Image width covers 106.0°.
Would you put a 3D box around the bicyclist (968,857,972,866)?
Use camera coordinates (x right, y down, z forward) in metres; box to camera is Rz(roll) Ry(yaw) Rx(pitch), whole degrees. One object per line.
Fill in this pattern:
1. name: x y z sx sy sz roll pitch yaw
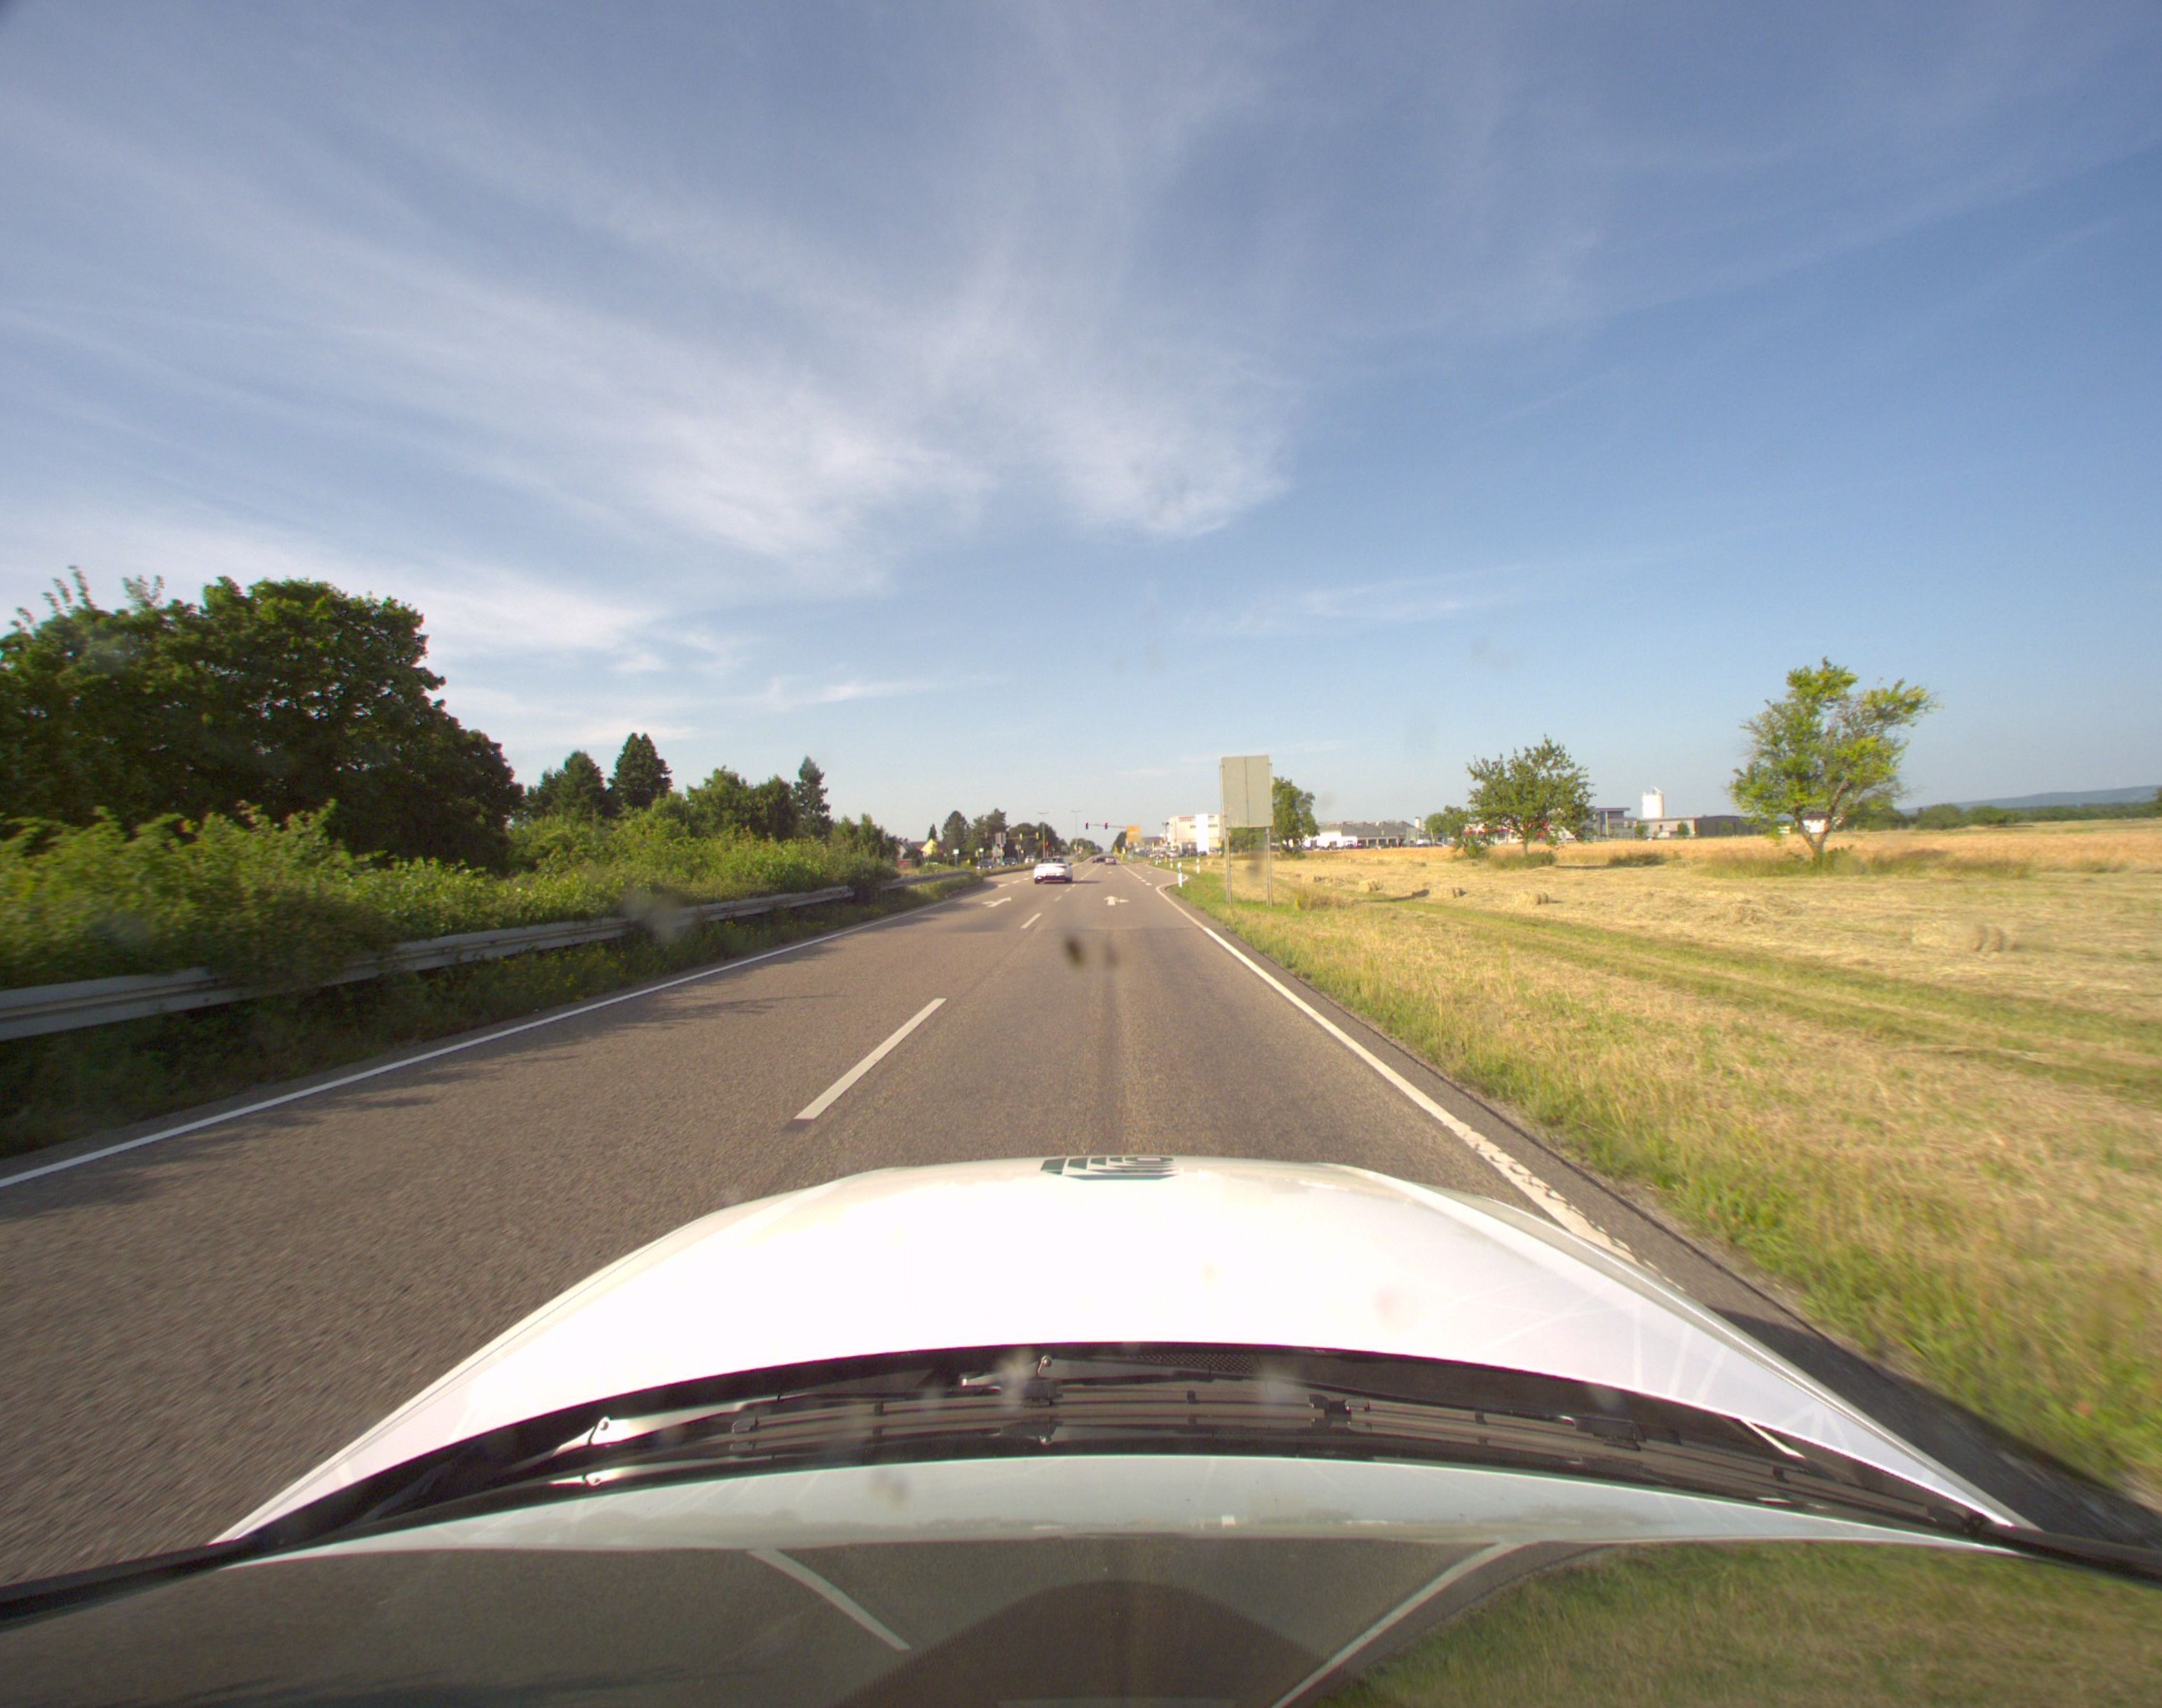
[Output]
1. bicyclist: -17.831 1.235 130.936 0.454 1.352 0.552 -3 0 -1

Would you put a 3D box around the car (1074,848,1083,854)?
1. car: -0.603 -0.632 185.656 1.940 1.408 4.003 -1 0 3

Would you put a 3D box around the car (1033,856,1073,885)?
1. car: -1.447 0.851 43.541 1.903 1.422 4.001 -1 0 1

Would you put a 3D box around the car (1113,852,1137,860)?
1. car: 8.007 0.426 149.568 3.998 1.408 1.942 -1 0 -18

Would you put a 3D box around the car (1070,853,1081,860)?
1. car: -1.112 0.461 160.746 1.940 1.408 4.003 -1 0 3

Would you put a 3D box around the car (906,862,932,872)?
1. car: -27.655 2.175 139.030 4.179 1.522 1.995 -1 0 -7

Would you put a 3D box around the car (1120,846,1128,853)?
1. car: 10.494 -1.072 199.676 1.985 1.757 4.004 -1 0 3

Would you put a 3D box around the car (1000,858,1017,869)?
1. car: -9.765 1.272 109.714 1.722 1.408 4.003 -1 0 3

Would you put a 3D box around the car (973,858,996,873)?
1. car: -10.451 1.224 88.453 1.986 1.486 4.228 -1 0 1

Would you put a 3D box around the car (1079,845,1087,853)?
1. car: 0.529 -1.211 199.843 1.940 1.772 4.003 -1 0 3

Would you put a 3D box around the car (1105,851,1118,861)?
1. car: 4.709 0.293 125.884 1.986 1.486 4.001 -1 0 1

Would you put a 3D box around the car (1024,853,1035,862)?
1. car: -10.608 0.656 168.152 1.940 1.800 4.003 -1 0 3
